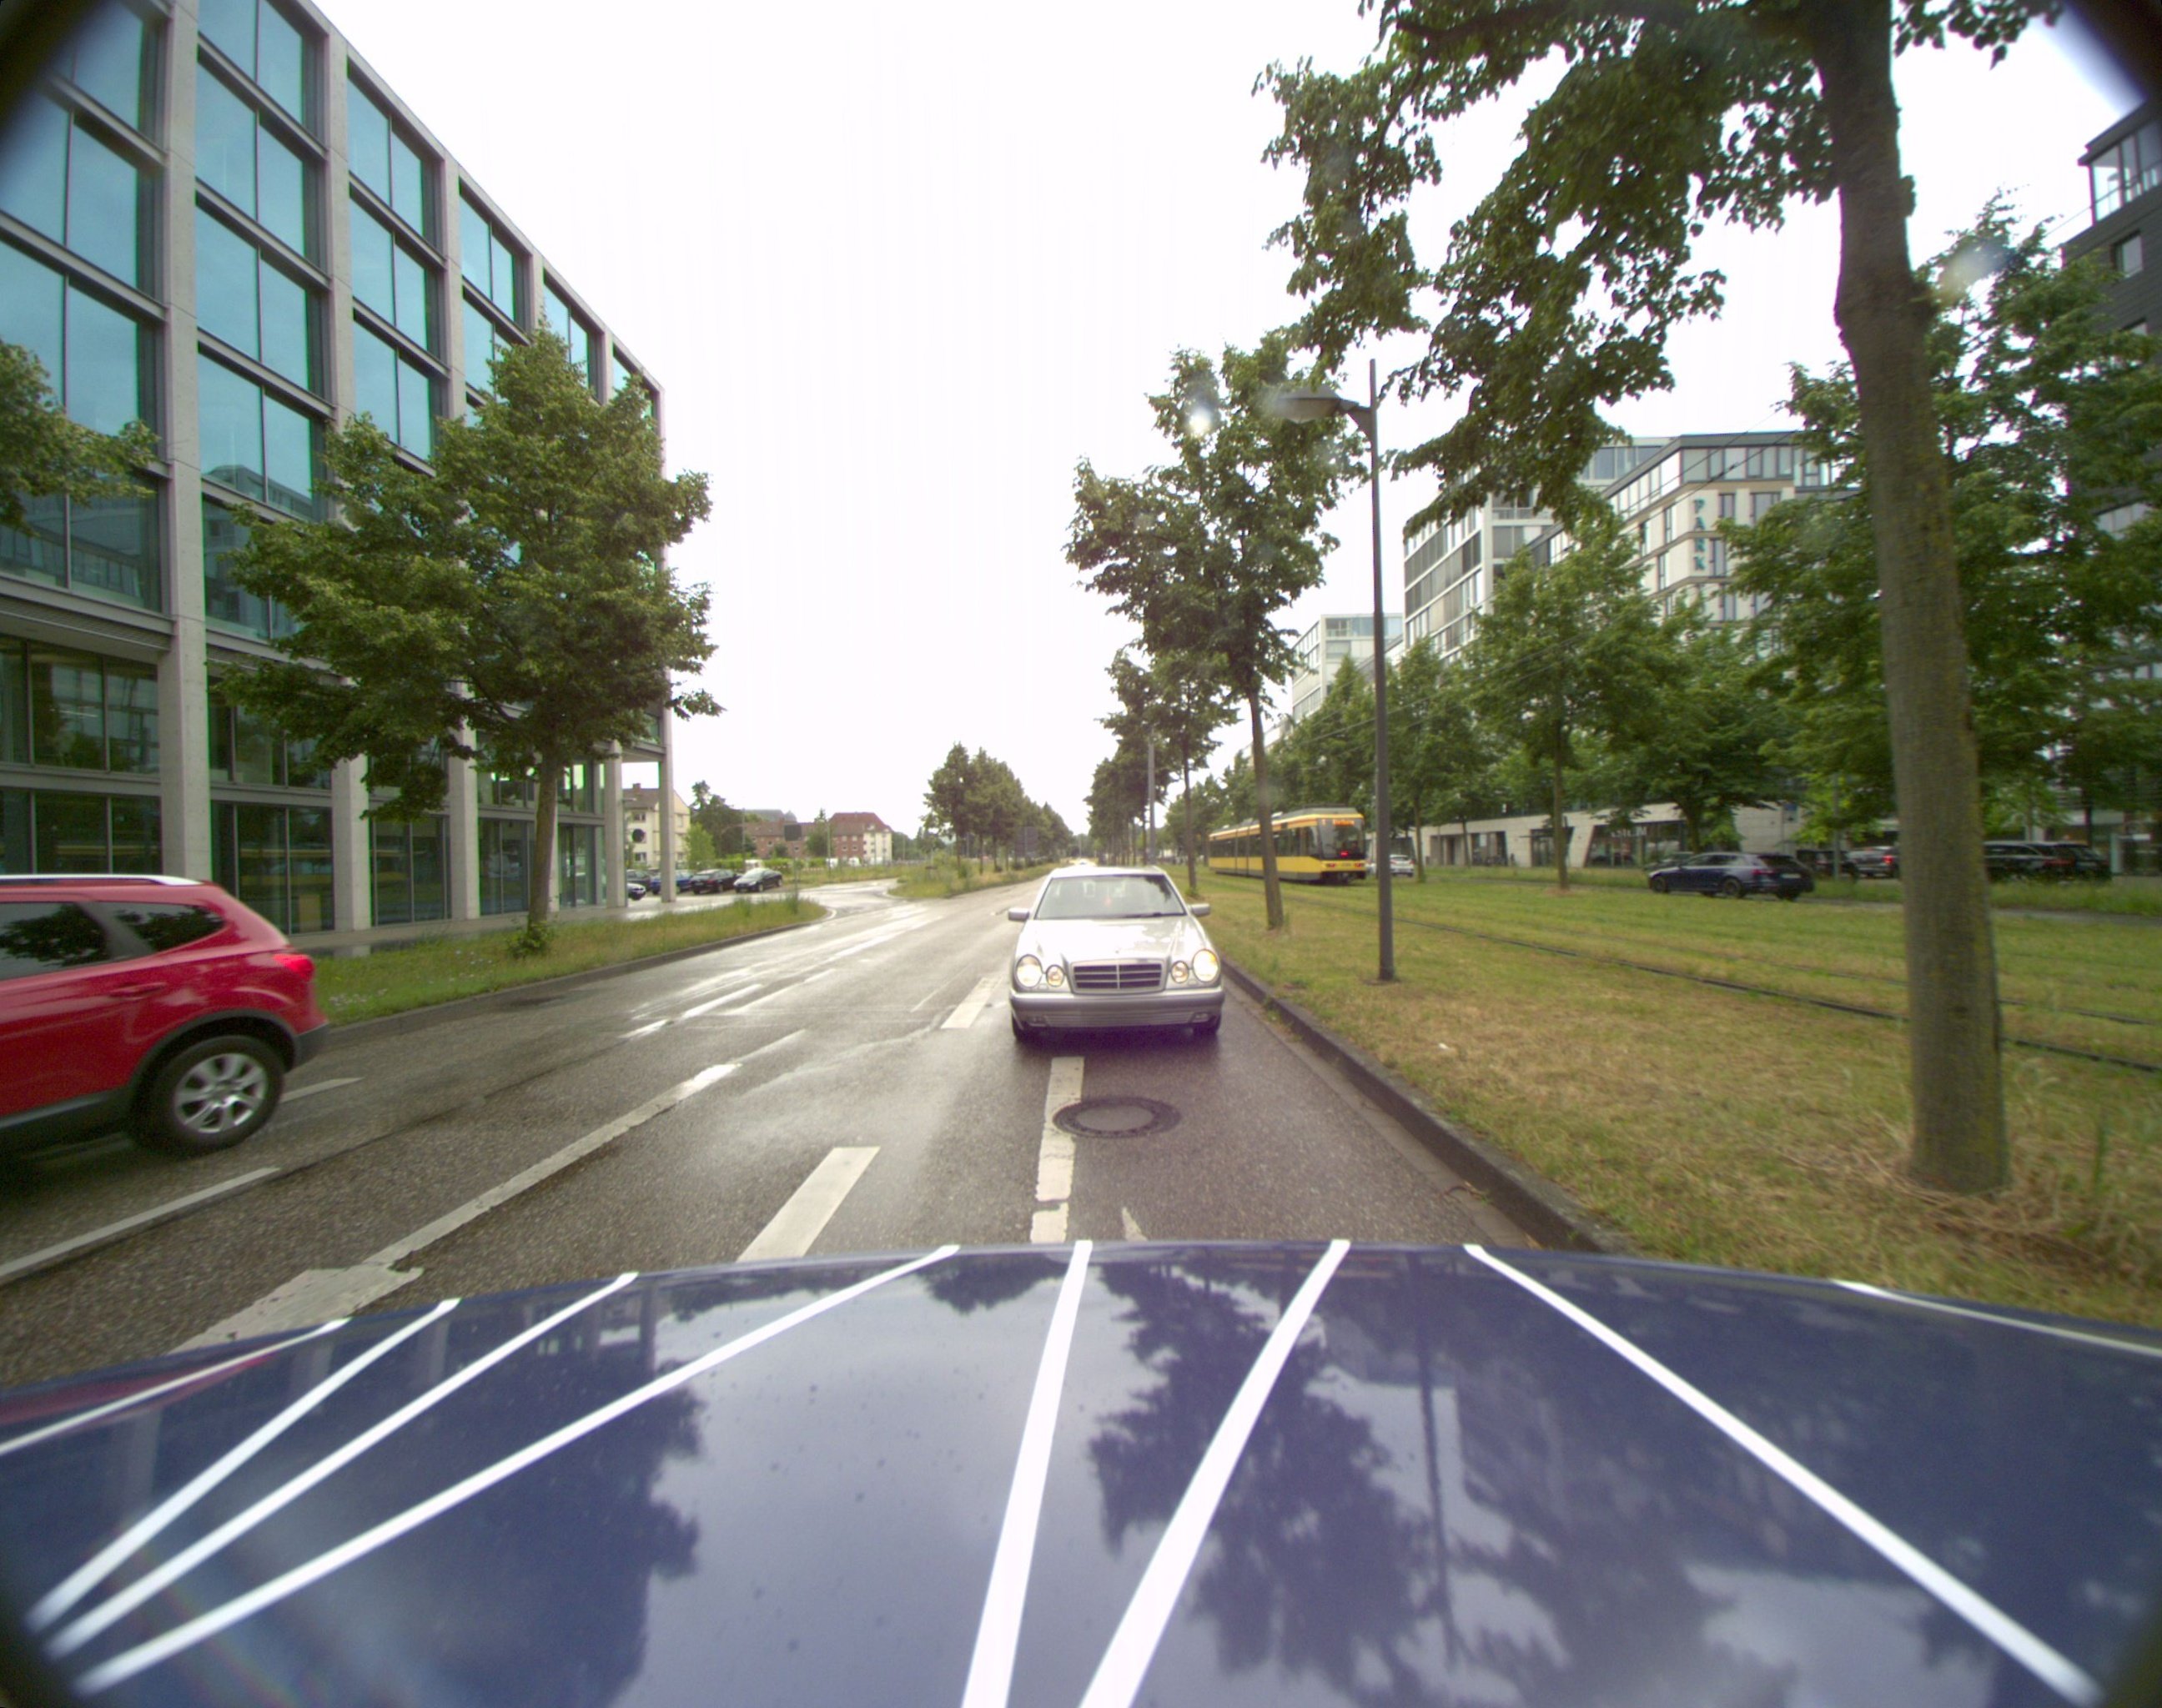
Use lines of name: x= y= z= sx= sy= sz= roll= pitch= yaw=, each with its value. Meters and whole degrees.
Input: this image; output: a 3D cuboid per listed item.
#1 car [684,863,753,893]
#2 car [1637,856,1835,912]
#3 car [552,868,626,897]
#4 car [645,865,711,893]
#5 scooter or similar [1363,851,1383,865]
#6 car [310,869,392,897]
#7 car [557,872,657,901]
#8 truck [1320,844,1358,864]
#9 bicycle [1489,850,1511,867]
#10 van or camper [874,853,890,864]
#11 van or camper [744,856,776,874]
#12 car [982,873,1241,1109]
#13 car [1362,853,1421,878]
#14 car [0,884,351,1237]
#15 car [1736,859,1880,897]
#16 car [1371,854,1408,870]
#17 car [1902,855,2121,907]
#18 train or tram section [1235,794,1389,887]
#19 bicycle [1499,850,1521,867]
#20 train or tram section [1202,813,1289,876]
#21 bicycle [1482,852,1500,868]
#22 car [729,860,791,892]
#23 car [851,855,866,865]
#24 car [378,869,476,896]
car: x=-23.738 y=1.550 z=49.943 sx=1.859 sy=1.447 sz=4.555 roll=-1 pitch=5 yaw=6
car: x=20.165 y=0.857 z=23.758 sx=1.998 sy=1.512 sz=4.872 roll=-2 pitch=0 yaw=0
car: x=-32.585 y=1.836 z=50.493 sx=1.789 sy=1.467 sz=4.229 roll=-1 pitch=4 yaw=6
car: x=-26.693 y=1.637 z=50.513 sx=1.859 sy=1.447 sz=4.000 roll=-1 pitch=3 yaw=6
scooter or similar: x=37.210 y=0.498 z=96.833 sx=2.130 sy=1.814 sz=0.885 roll=-2 pitch=0 yaw=-3
car: x=-51.606 y=2.015 z=53.864 sx=1.860 sy=1.488 sz=4.029 roll=-2 pitch=4 yaw=-1
car: x=-25.504 y=1.759 z=40.968 sx=4.227 sy=1.429 sz=1.982 roll=-2 pitch=-2 yaw=6
truck: x=30.599 y=-0.008 z=90.453 sx=2.432 sy=2.278 sz=6.309 roll=-1 pitch=0 yaw=1
bicycle: x=38.966 y=0.394 z=70.670 sx=1.707 sy=1.529 sz=0.681 roll=-2 pitch=1 yaw=0
van or camper: x=-44.799 y=0.946 z=171.218 sx=2.208 sy=2.294 sz=6.147 roll=-3 pitch=0 yaw=-2
van or camper: x=-49.395 y=1.637 z=117.170 sx=2.314 sy=2.673 sz=6.395 roll=-1 pitch=0 yaw=-2
car: x=0.217 y=1.000 z=7.518 sx=1.738 sy=1.451 sz=4.607 roll=-2 pitch=0 yaw=0
car: x=21.049 y=0.744 z=51.755 sx=1.999 sy=1.512 sz=4.872 roll=-2 pitch=0 yaw=0
car: x=-5.893 y=0.990 z=2.975 sx=1.799 sy=1.602 sz=4.248 roll=-4 pitch=-2 yaw=2
car: x=29.116 y=0.914 z=30.620 sx=1.998 sy=1.370 sz=4.000 roll=-2 pitch=0 yaw=1
car: x=29.544 y=0.704 z=72.866 sx=1.859 sy=1.456 sz=3.988 roll=-1 pitch=0 yaw=0
car: x=28.861 y=0.775 z=23.822 sx=1.706 sy=1.441 sz=4.241 roll=-2 pitch=0 yaw=1
train or tram section: x=10.725 y=-0.533 z=37.782 sx=3.136 sy=3.637 sz=15.064 roll=-2 pitch=0 yaw=1
bicycle: x=39.216 y=0.384 z=69.455 sx=1.571 sy=1.529 sz=0.607 roll=-2 pitch=1 yaw=0
train or tram section: x=10.904 y=-0.557 z=52.072 sx=3.136 sy=3.637 sz=13.406 roll=-2 pitch=0 yaw=1
bicycle: x=39.091 y=0.613 z=72.485 sx=1.435 sy=1.474 sz=0.546 roll=-2 pitch=1 yaw=0
car: x=-20.930 y=1.390 z=49.742 sx=1.858 sy=1.573 sz=3.999 roll=-2 pitch=5 yaw=8
car: x=-51.373 y=1.265 z=175.521 sx=2.278 sy=2.207 sz=4.758 roll=-2 pitch=0 yaw=-3
car: x=-36.052 y=1.553 z=41.926 sx=3.995 sy=1.364 sz=1.862 roll=-2 pitch=-1 yaw=6
